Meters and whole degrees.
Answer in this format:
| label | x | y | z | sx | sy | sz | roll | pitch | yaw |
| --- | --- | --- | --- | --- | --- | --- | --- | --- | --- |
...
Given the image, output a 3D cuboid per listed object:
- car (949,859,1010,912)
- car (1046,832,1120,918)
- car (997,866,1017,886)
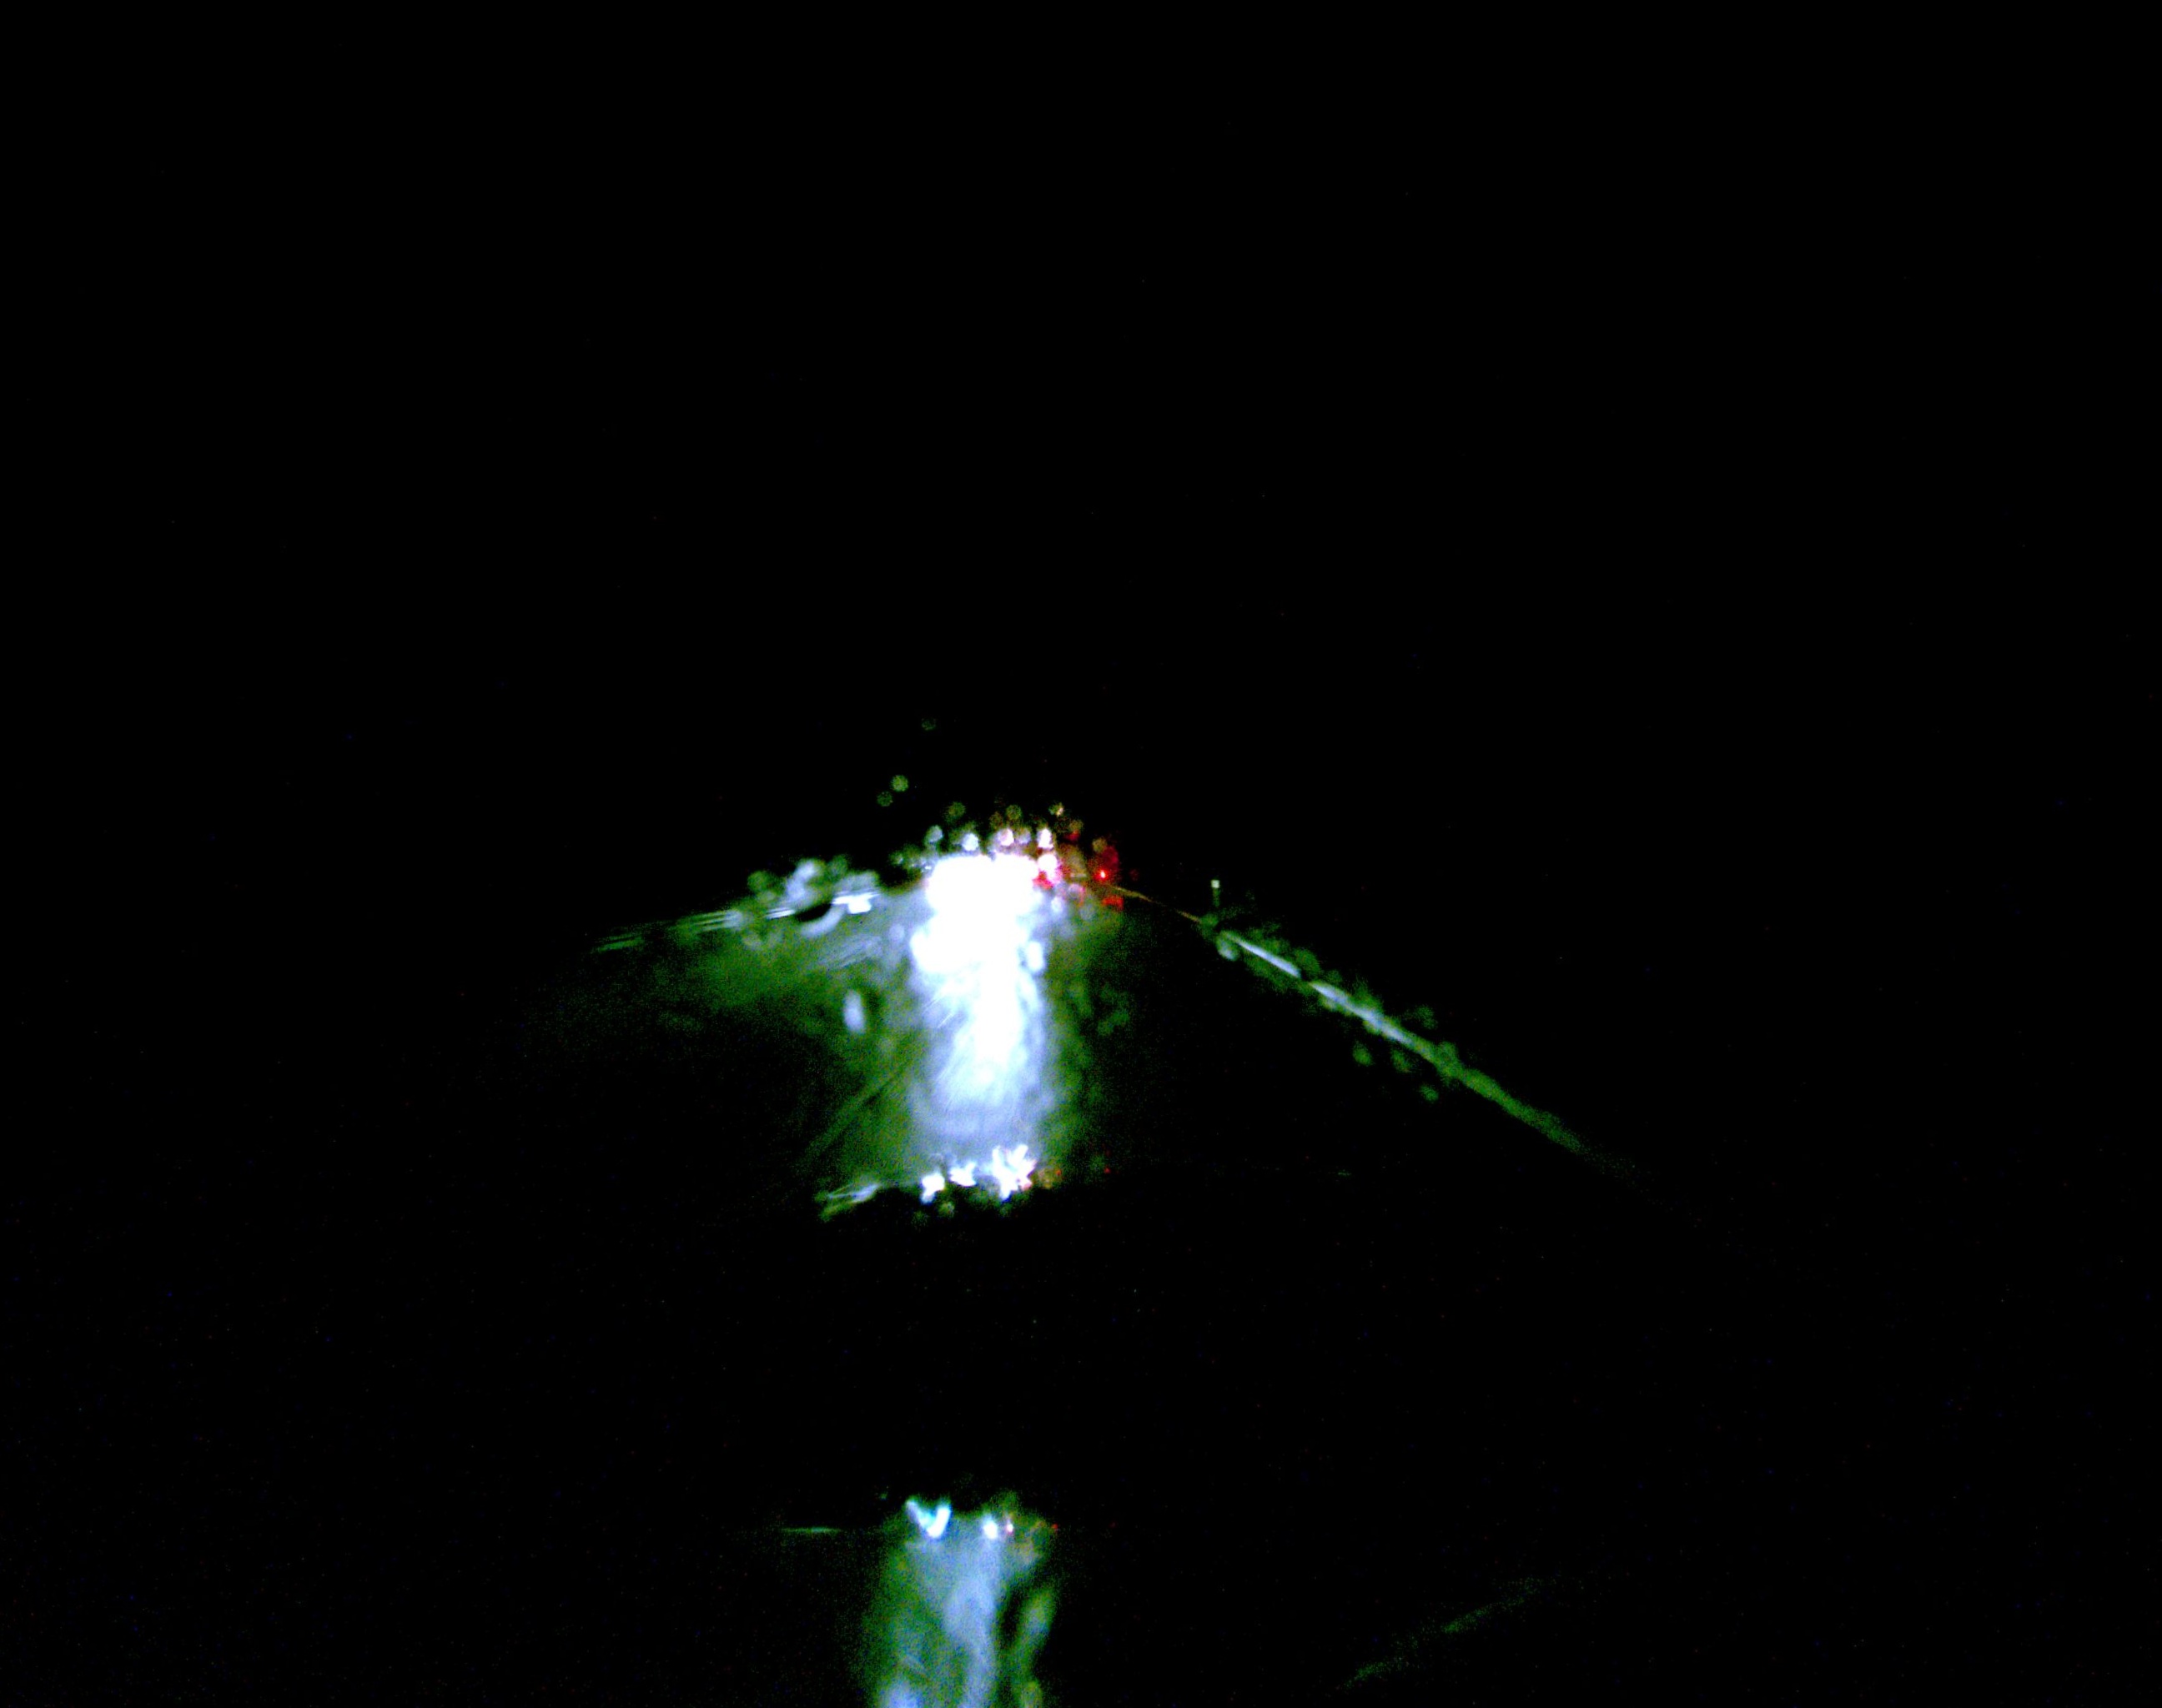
| label | x | y | z | sx | sy | sz | roll | pitch | yaw |
| --- | --- | --- | --- | --- | --- | --- | --- | --- | --- |
| car | -3.327 | 1.002 | 27.223 | 1.591 | 1.510 | 3.598 | -3 | 1 | -2 |
| car | 0.062 | 0.648 | 26.890 | 2.174 | 2.557 | 4.507 | 2 | 0 | 0 |
| car | -6.633 | 1.955 | 73.232 | 1.559 | 1.525 | 3.482 | -4 | 0 | -3 |
